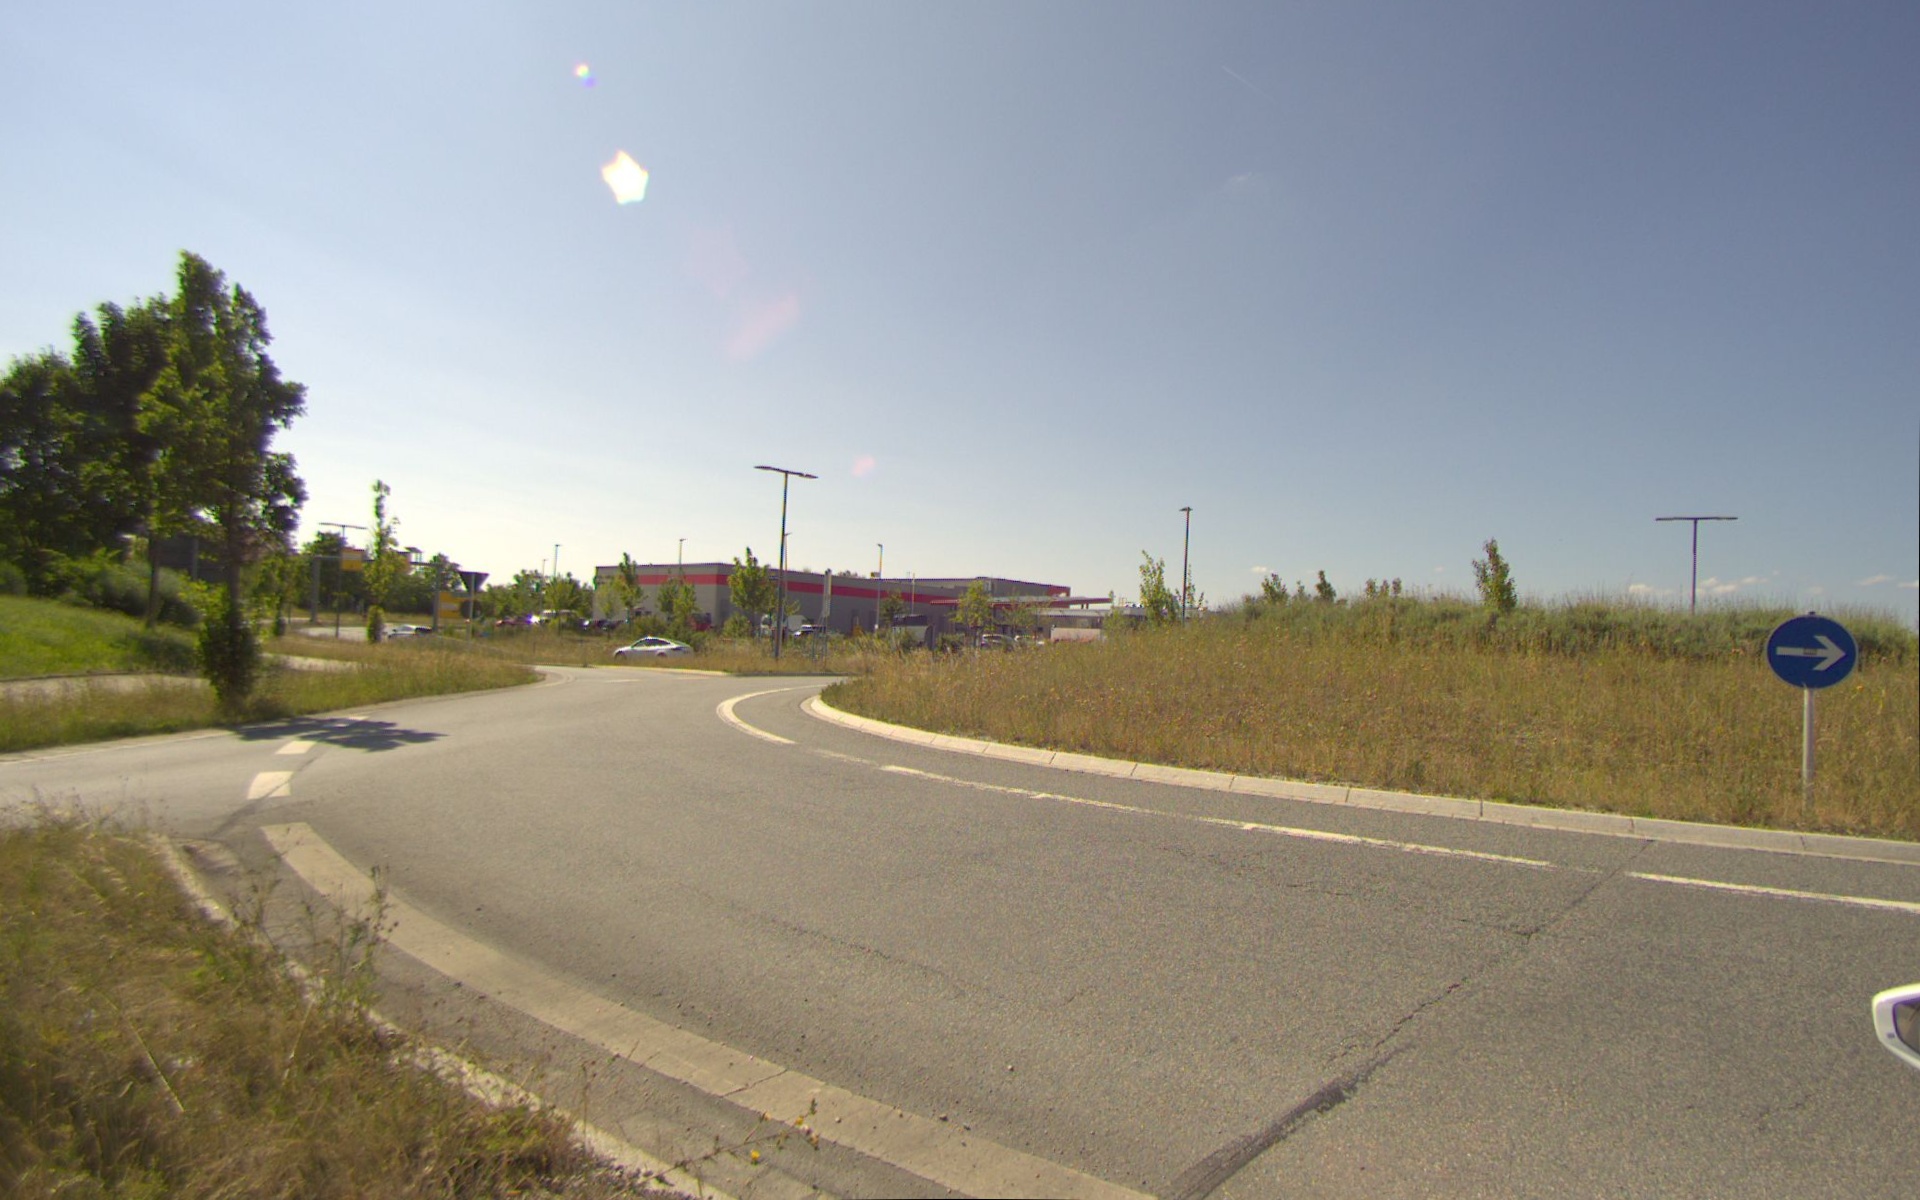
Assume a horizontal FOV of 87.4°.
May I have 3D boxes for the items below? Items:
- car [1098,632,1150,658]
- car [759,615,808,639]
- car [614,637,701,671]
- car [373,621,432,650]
[{"bbox_3d":[13.995,3.855,85.497,1.970,2.040,5.113,1,-3,40],"label":"car"},{"bbox_3d":[-16.075,2.454,91.631,1.970,2.040,3.983,1,-2,39],"label":"car"},{"bbox_3d":[-15.966,2.823,53.008,4.195,1.594,1.727,2,-2,23],"label":"car"},{"bbox_3d":[-36.975,2.337,66.611,3.700,1.795,1.690,1,-2,30],"label":"car"}]
